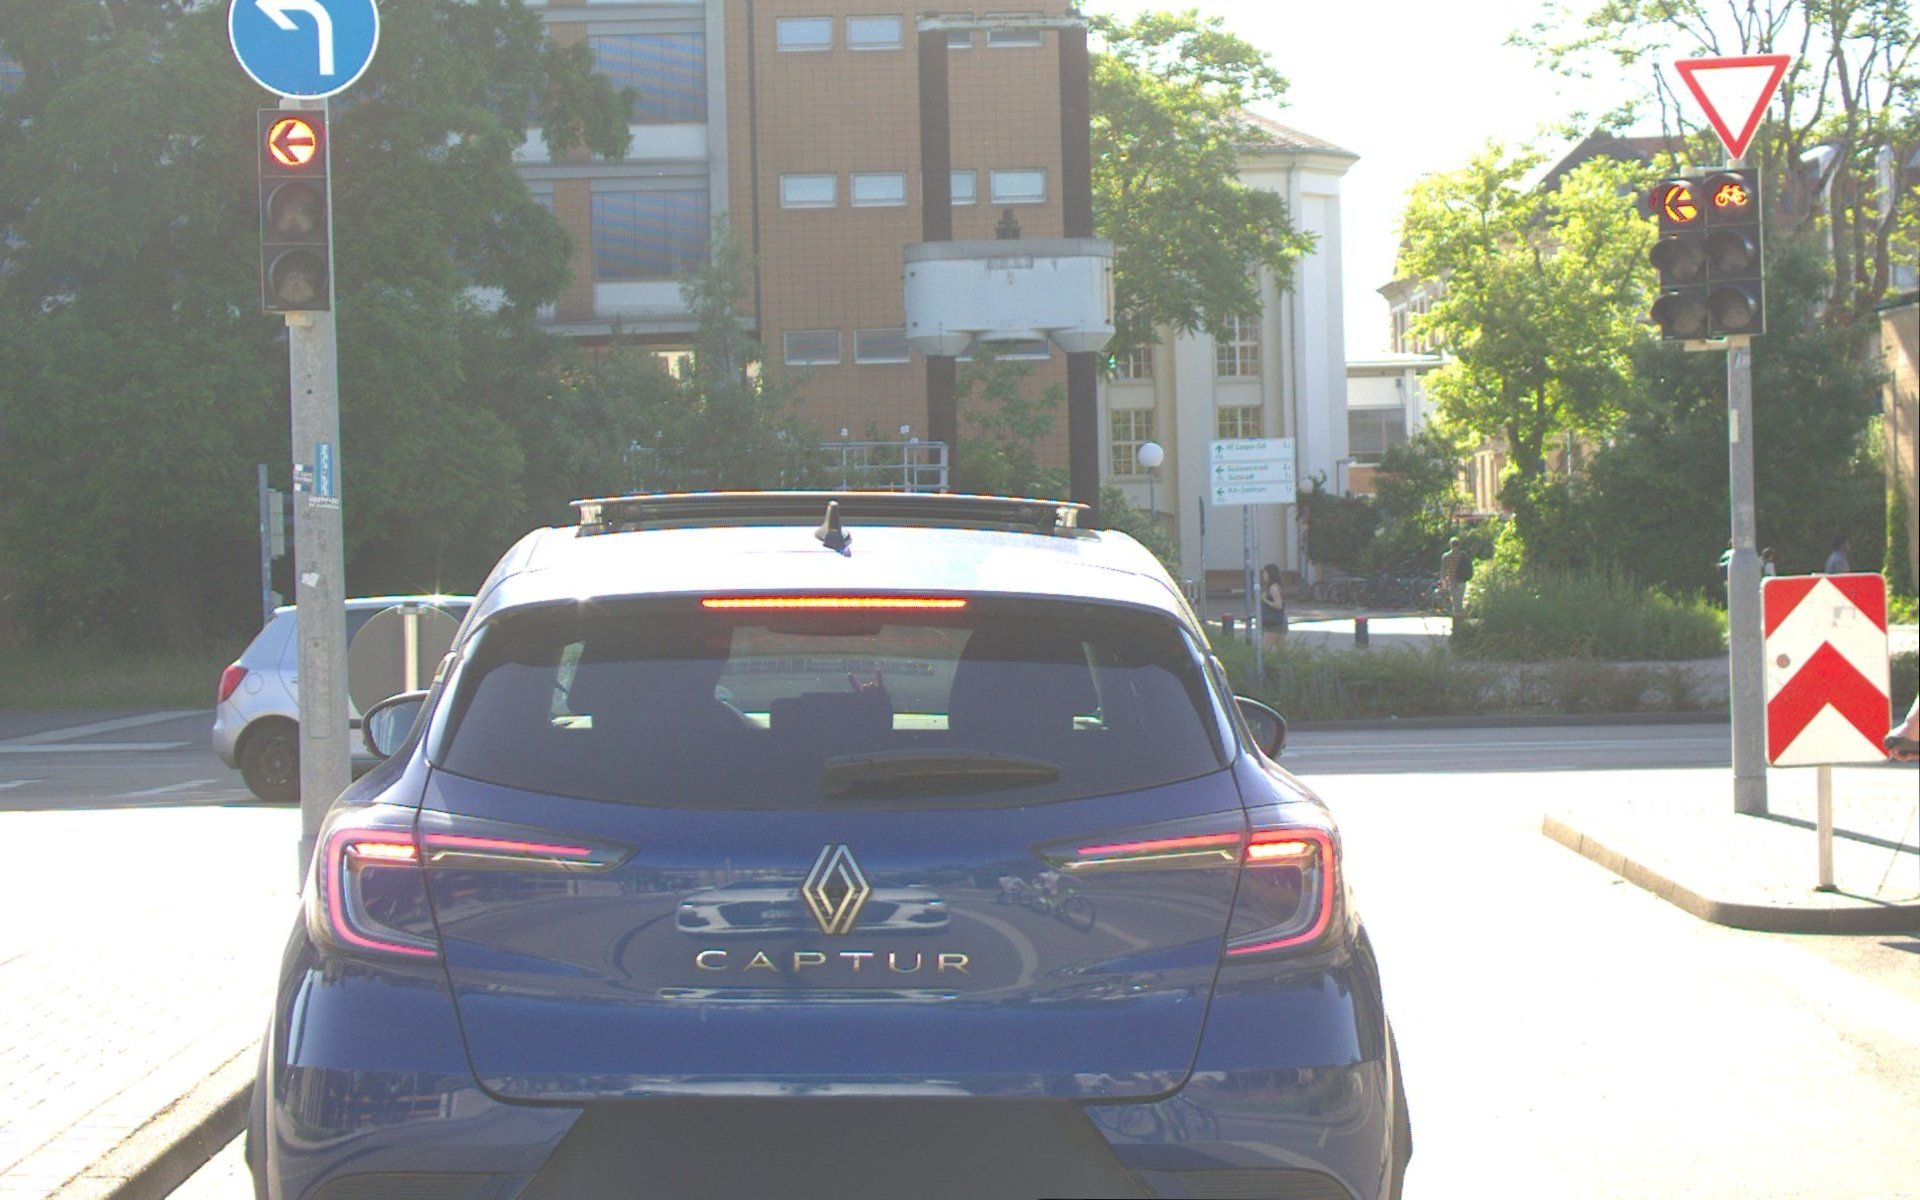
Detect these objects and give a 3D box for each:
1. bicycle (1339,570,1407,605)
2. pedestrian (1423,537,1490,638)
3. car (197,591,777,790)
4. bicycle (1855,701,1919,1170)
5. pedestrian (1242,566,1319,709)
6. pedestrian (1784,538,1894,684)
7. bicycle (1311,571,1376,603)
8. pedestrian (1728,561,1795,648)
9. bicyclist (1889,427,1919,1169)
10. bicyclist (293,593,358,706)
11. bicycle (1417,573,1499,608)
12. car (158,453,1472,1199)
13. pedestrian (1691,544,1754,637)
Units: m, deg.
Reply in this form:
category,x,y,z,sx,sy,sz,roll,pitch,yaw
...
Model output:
category,x,y,z,sx,sy,sz,roll,pitch,yaw
bicycle,11.396,-0.347,94.842,1.771,0.895,0.765,-1,1,0
pedestrian,10.129,-0.263,70.231,1.156,2.007,1.164,-1,1,0
car,-3.475,0.671,25.560,3.846,1.398,1.891,0,-2,13
bicycle,2.687,0.842,8.099,0.615,1.134,1.826,0,1,-2
pedestrian,4.242,0.488,45.474,0.932,1.849,0.807,-1,1,9
pedestrian,11.401,0.134,44.615,1.298,1.849,0.965,-1,1,11
bicycle,11.057,-0.377,99.207,1.771,0.890,0.765,-1,1,0
pedestrian,15.024,0.077,64.455,0.936,1.607,1.176,-1,1,0
bicyclist,2.655,0.478,8.021,0.676,1.779,0.940,1,0,-2
bicyclist,-8.059,0.631,43.673,0.636,1.407,0.649,-2,-2,4
bicycle,12.027,-0.233,83.041,1.770,0.820,0.766,-1,1,-10
car,-0.250,0.593,6.646,1.794,1.649,3.853,0,1,-2
pedestrian,14.437,-0.183,65.101,0.953,1.735,0.984,-1,1,0
